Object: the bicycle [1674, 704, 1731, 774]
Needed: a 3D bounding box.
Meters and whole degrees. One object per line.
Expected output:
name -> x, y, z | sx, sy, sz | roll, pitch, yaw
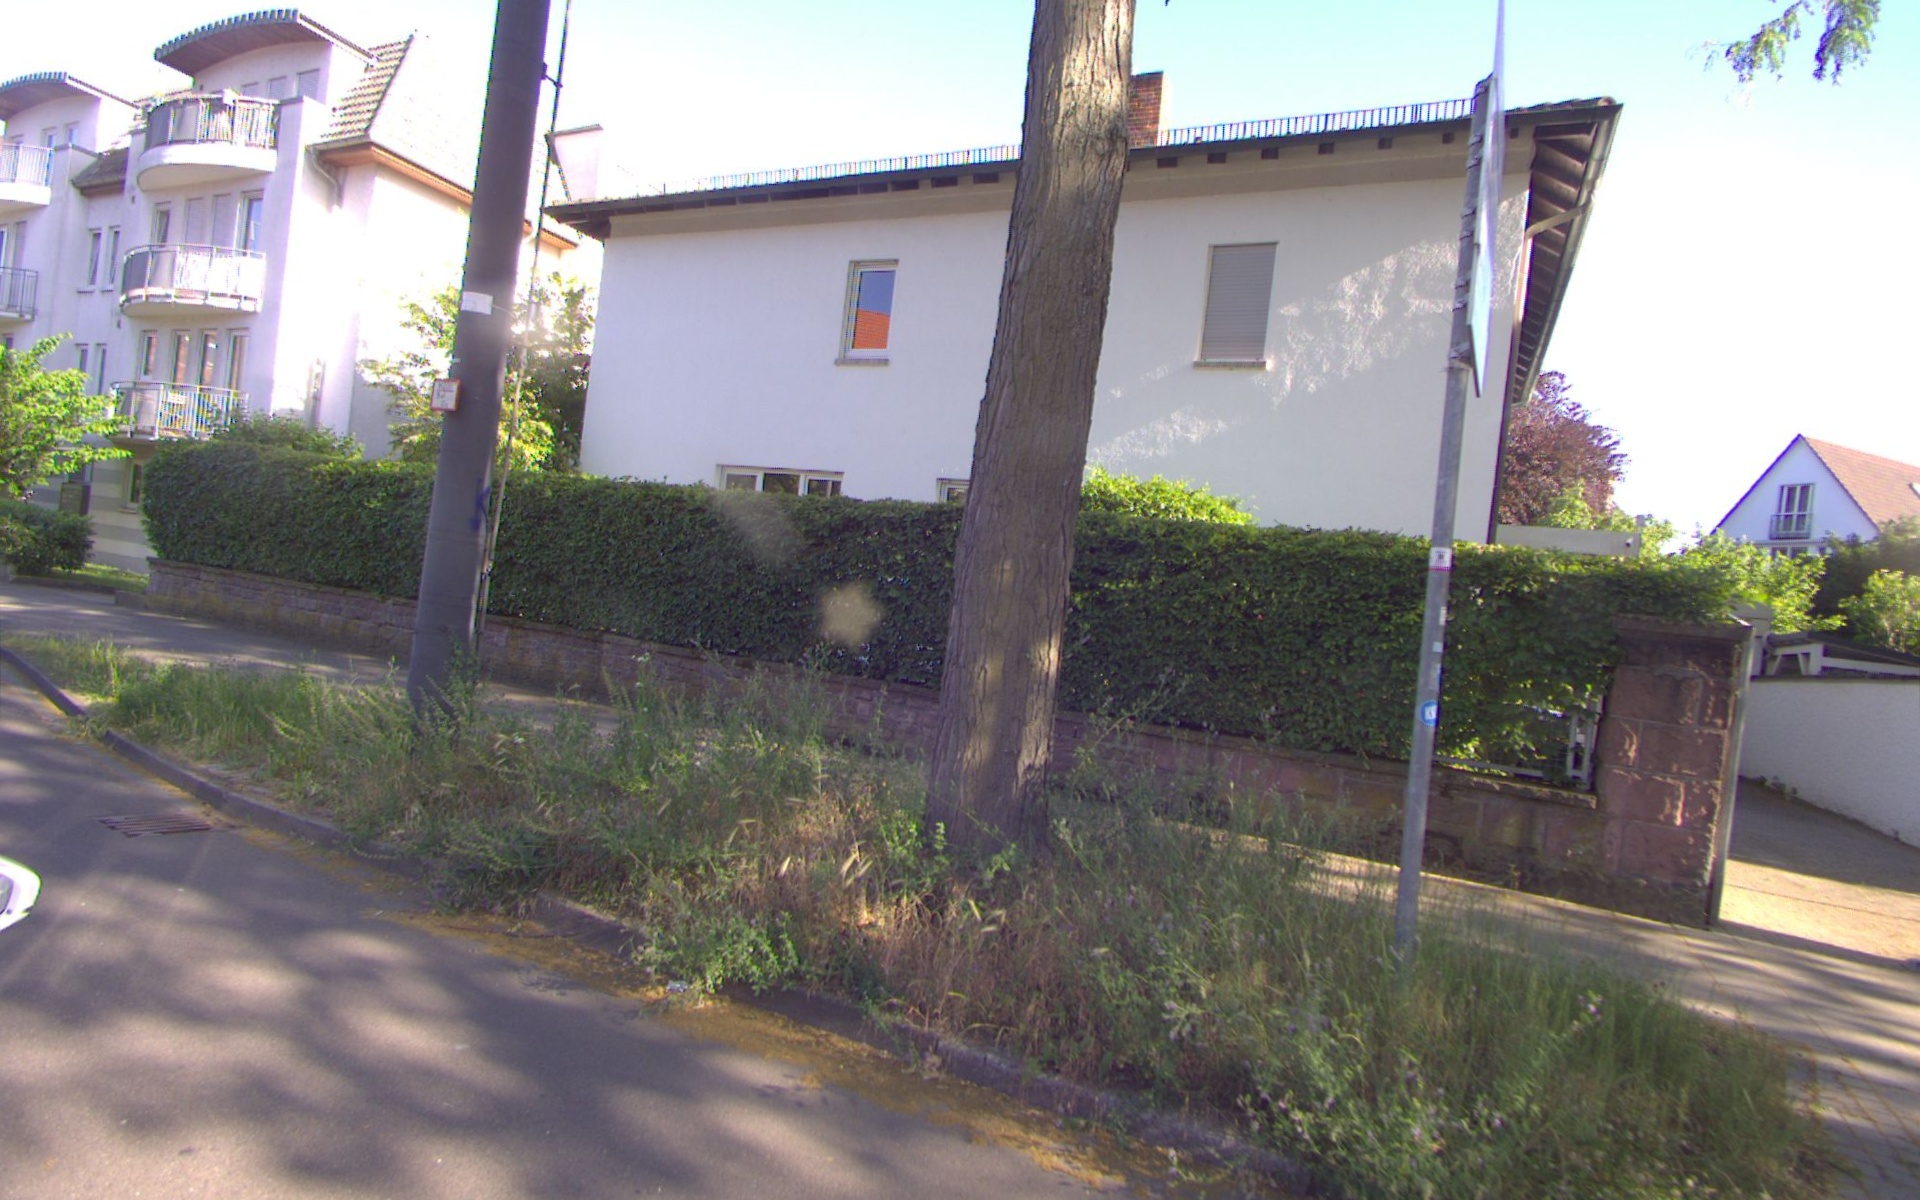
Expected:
bicycle -> 13.513, 2.512, 18.334 | 0.512, 1.135, 1.465 | 7, -1, 28
